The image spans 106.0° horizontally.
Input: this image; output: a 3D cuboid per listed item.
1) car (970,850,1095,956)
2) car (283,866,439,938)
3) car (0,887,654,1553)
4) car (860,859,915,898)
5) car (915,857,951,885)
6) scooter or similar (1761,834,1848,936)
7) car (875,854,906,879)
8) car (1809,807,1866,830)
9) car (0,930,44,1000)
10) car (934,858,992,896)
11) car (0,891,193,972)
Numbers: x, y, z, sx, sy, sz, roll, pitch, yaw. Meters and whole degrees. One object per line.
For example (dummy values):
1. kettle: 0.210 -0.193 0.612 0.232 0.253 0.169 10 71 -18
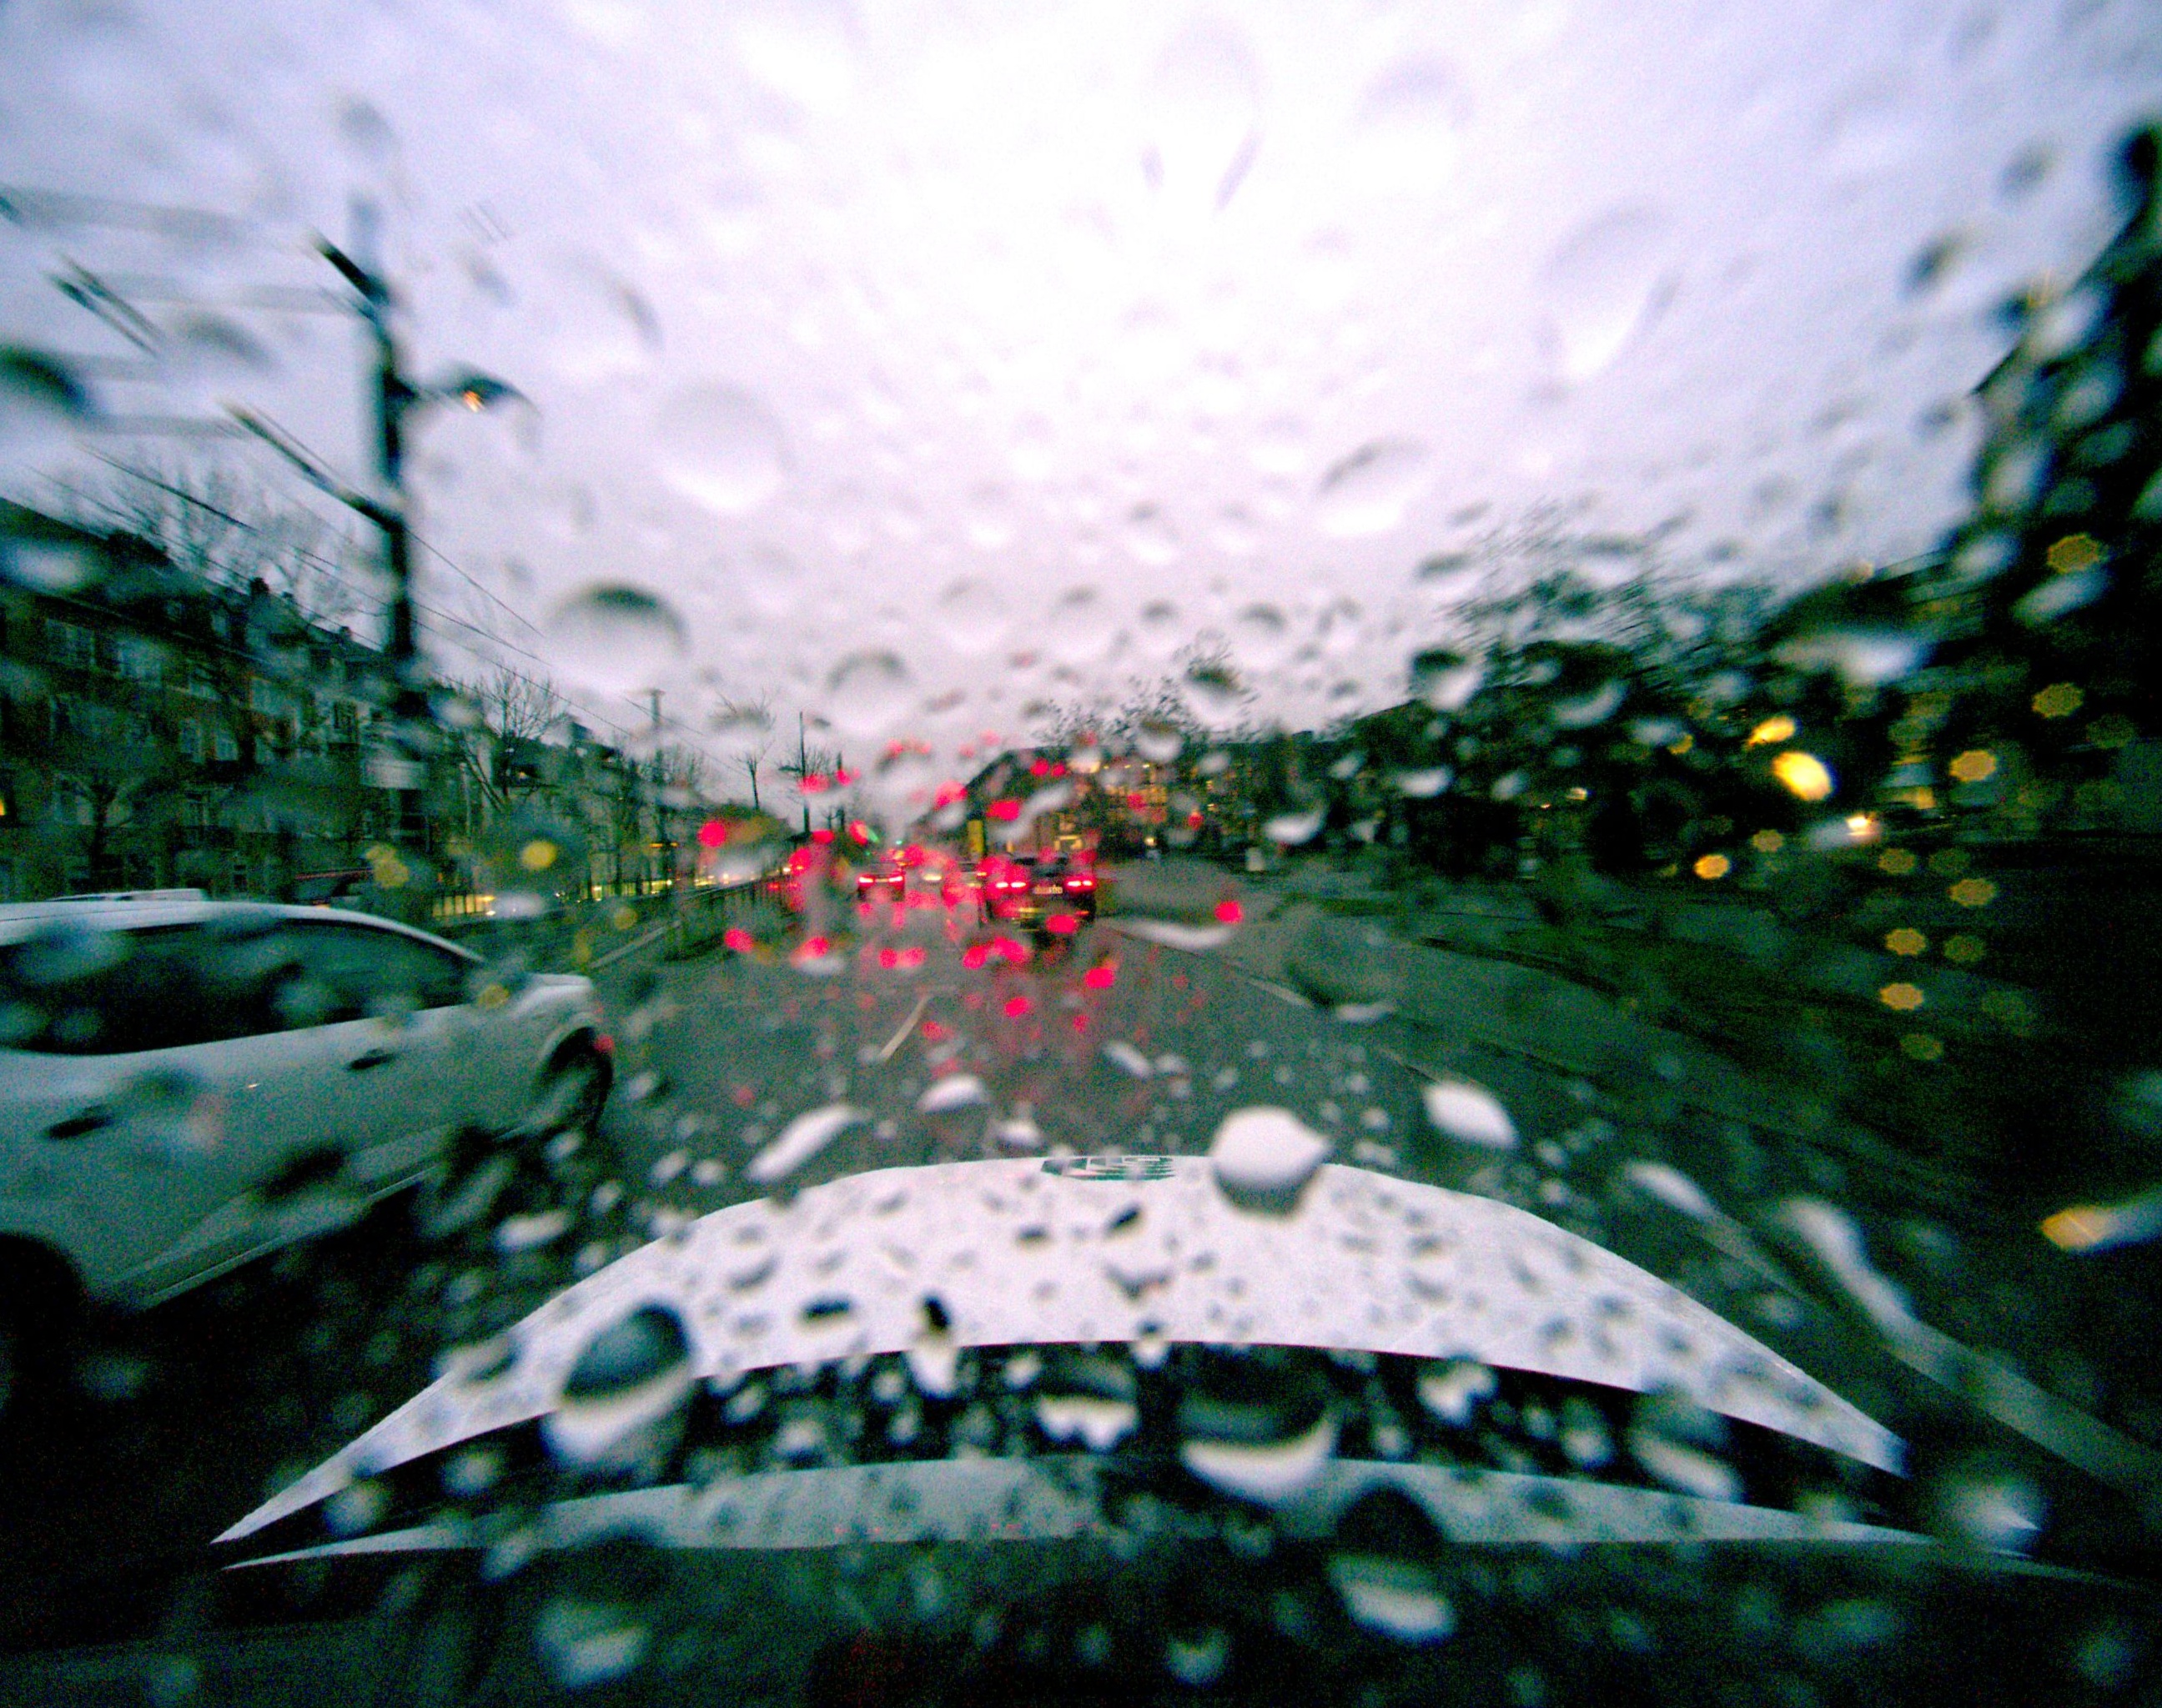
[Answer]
1. car: -0.984 0.796 15.444 1.988 1.616 3.992 -3 0 -6
2. car: -27.121 1.694 30.966 1.995 2.309 5.244 -3 0 -12
3. car: -3.533 1.025 3.081 1.621 1.487 4.000 -3 1 0
4. car: -8.047 0.954 33.843 1.997 1.398 3.981 -3 0 -14
5. car: -9.728 1.079 53.237 1.997 1.618 3.981 -3 0 -14
6. scooter or similar: 9.554 0.387 10.749 1.149 1.231 0.483 -3 0 -30
7. car: -13.595 0.873 57.928 1.997 1.618 3.981 -3 0 -14
8. car: 43.670 -2.029 47.102 1.651 1.180 3.732 -3 0 31
9. car: -20.499 2.129 13.700 1.539 1.245 4.067 -3 0 -14
10. car: -5.075 0.930 34.681 1.997 1.408 3.981 -3 0 -14
11. car: -28.910 2.181 23.855 1.997 1.940 3.923 -4 0 -15
